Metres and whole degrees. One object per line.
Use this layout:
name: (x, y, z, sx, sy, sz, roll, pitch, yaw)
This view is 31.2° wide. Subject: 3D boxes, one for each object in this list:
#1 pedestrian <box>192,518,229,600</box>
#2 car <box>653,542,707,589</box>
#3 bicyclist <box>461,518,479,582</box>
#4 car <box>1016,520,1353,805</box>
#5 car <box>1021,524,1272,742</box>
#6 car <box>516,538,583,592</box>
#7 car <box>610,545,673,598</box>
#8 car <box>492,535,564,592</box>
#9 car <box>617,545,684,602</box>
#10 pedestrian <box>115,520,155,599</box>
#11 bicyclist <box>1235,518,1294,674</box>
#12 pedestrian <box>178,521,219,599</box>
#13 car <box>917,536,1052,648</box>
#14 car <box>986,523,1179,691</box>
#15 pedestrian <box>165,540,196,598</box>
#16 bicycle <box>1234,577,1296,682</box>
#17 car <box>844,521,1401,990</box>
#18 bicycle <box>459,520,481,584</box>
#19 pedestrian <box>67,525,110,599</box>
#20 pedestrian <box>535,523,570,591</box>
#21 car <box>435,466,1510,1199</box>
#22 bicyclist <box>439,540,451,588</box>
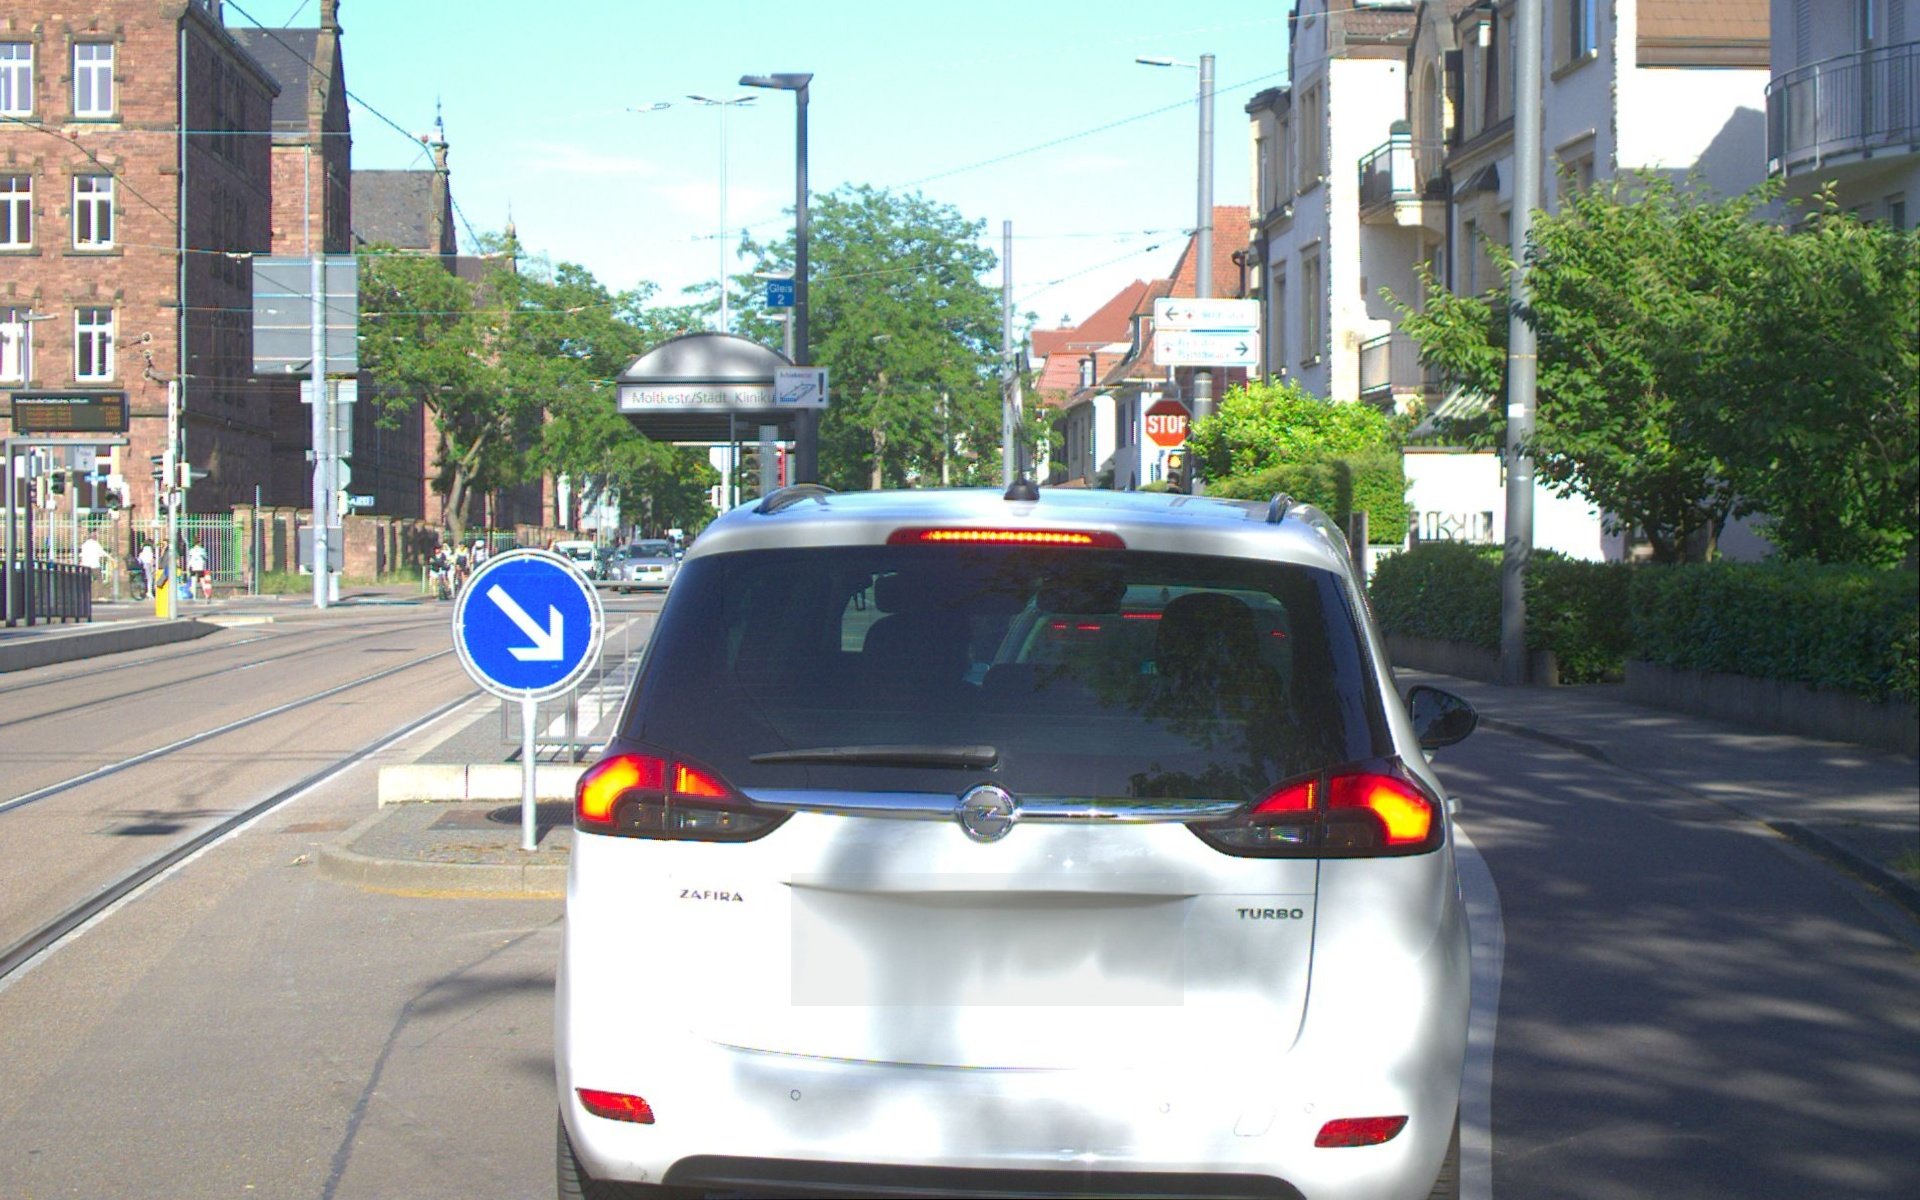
pedestrian: (-18.530, -1.003, 84.980, 0.794, 2.007, 0.721, 1, 0, -17)
car: (-10.492, -1.302, 129.075, 1.746, 1.710, 4.000, 1, 1, -1)
bicyclist: (-15.557, -1.589, 109.205, 0.498, 2.007, 0.572, 0, 1, -1)
car: (1.503, 0.316, 21.619, 1.907, 1.619, 3.999, 0, 1, 7)
car: (1.566, 0.214, 28.280, 1.907, 1.656, 4.000, 0, 1, 4)
car: (-13.556, -1.160, 113.717, 1.746, 1.710, 4.000, 1, 1, -1)
car: (-10.655, -0.954, 115.223, 1.746, 1.710, 4.000, 1, 1, -1)
car: (-13.430, -1.124, 107.049, 1.746, 1.710, 4.000, 1, 1, -1)
car: (-9.643, -0.824, 107.366, 1.746, 1.710, 4.000, 1, 1, -1)
pedestrian: (-21.201, -1.047, 88.351, 0.795, 2.007, 0.720, 1, 0, -34)
bicyclist: (3.311, -0.053, 37.415, 0.616, 1.681, 0.779, 0, 1, 4)
pedestrian: (-19.714, -1.032, 88.973, 0.795, 2.007, 0.720, 1, 0, -37)
car: (0.337, -0.153, 53.094, 1.907, 1.656, 4.001, 0, 1, -2)
car: (1.242, 0.033, 36.117, 1.907, 1.656, 4.000, 0, 1, 1)
pedestrian: (-21.602, -0.864, 95.302, 0.654, 1.606, 0.711, 1, 0, 2)
bicycle: (3.314, 0.306, 37.471, 0.624, 1.093, 1.973, 0, 1, 4)
car: (0.782, 0.490, 13.780, 1.907, 1.592, 3.999, 0, 1, 7)
bicycle: (-15.562, -1.531, 109.225, 0.487, 2.007, 1.405, 0, 1, 0)
pedestrian: (-22.552, -0.994, 89.006, 0.808, 1.894, 0.743, 1, 0, 14)
pedestrian: (-11.511, -1.218, 97.159, 0.741, 1.894, 0.811, 1, 0, -25)
car: (0.235, 0.556, 8.059, 1.907, 1.656, 3.999, 0, 1, 7)
bicyclist: (-15.429, -1.069, 103.048, 0.313, 1.439, 0.384, 0, 1, -1)
